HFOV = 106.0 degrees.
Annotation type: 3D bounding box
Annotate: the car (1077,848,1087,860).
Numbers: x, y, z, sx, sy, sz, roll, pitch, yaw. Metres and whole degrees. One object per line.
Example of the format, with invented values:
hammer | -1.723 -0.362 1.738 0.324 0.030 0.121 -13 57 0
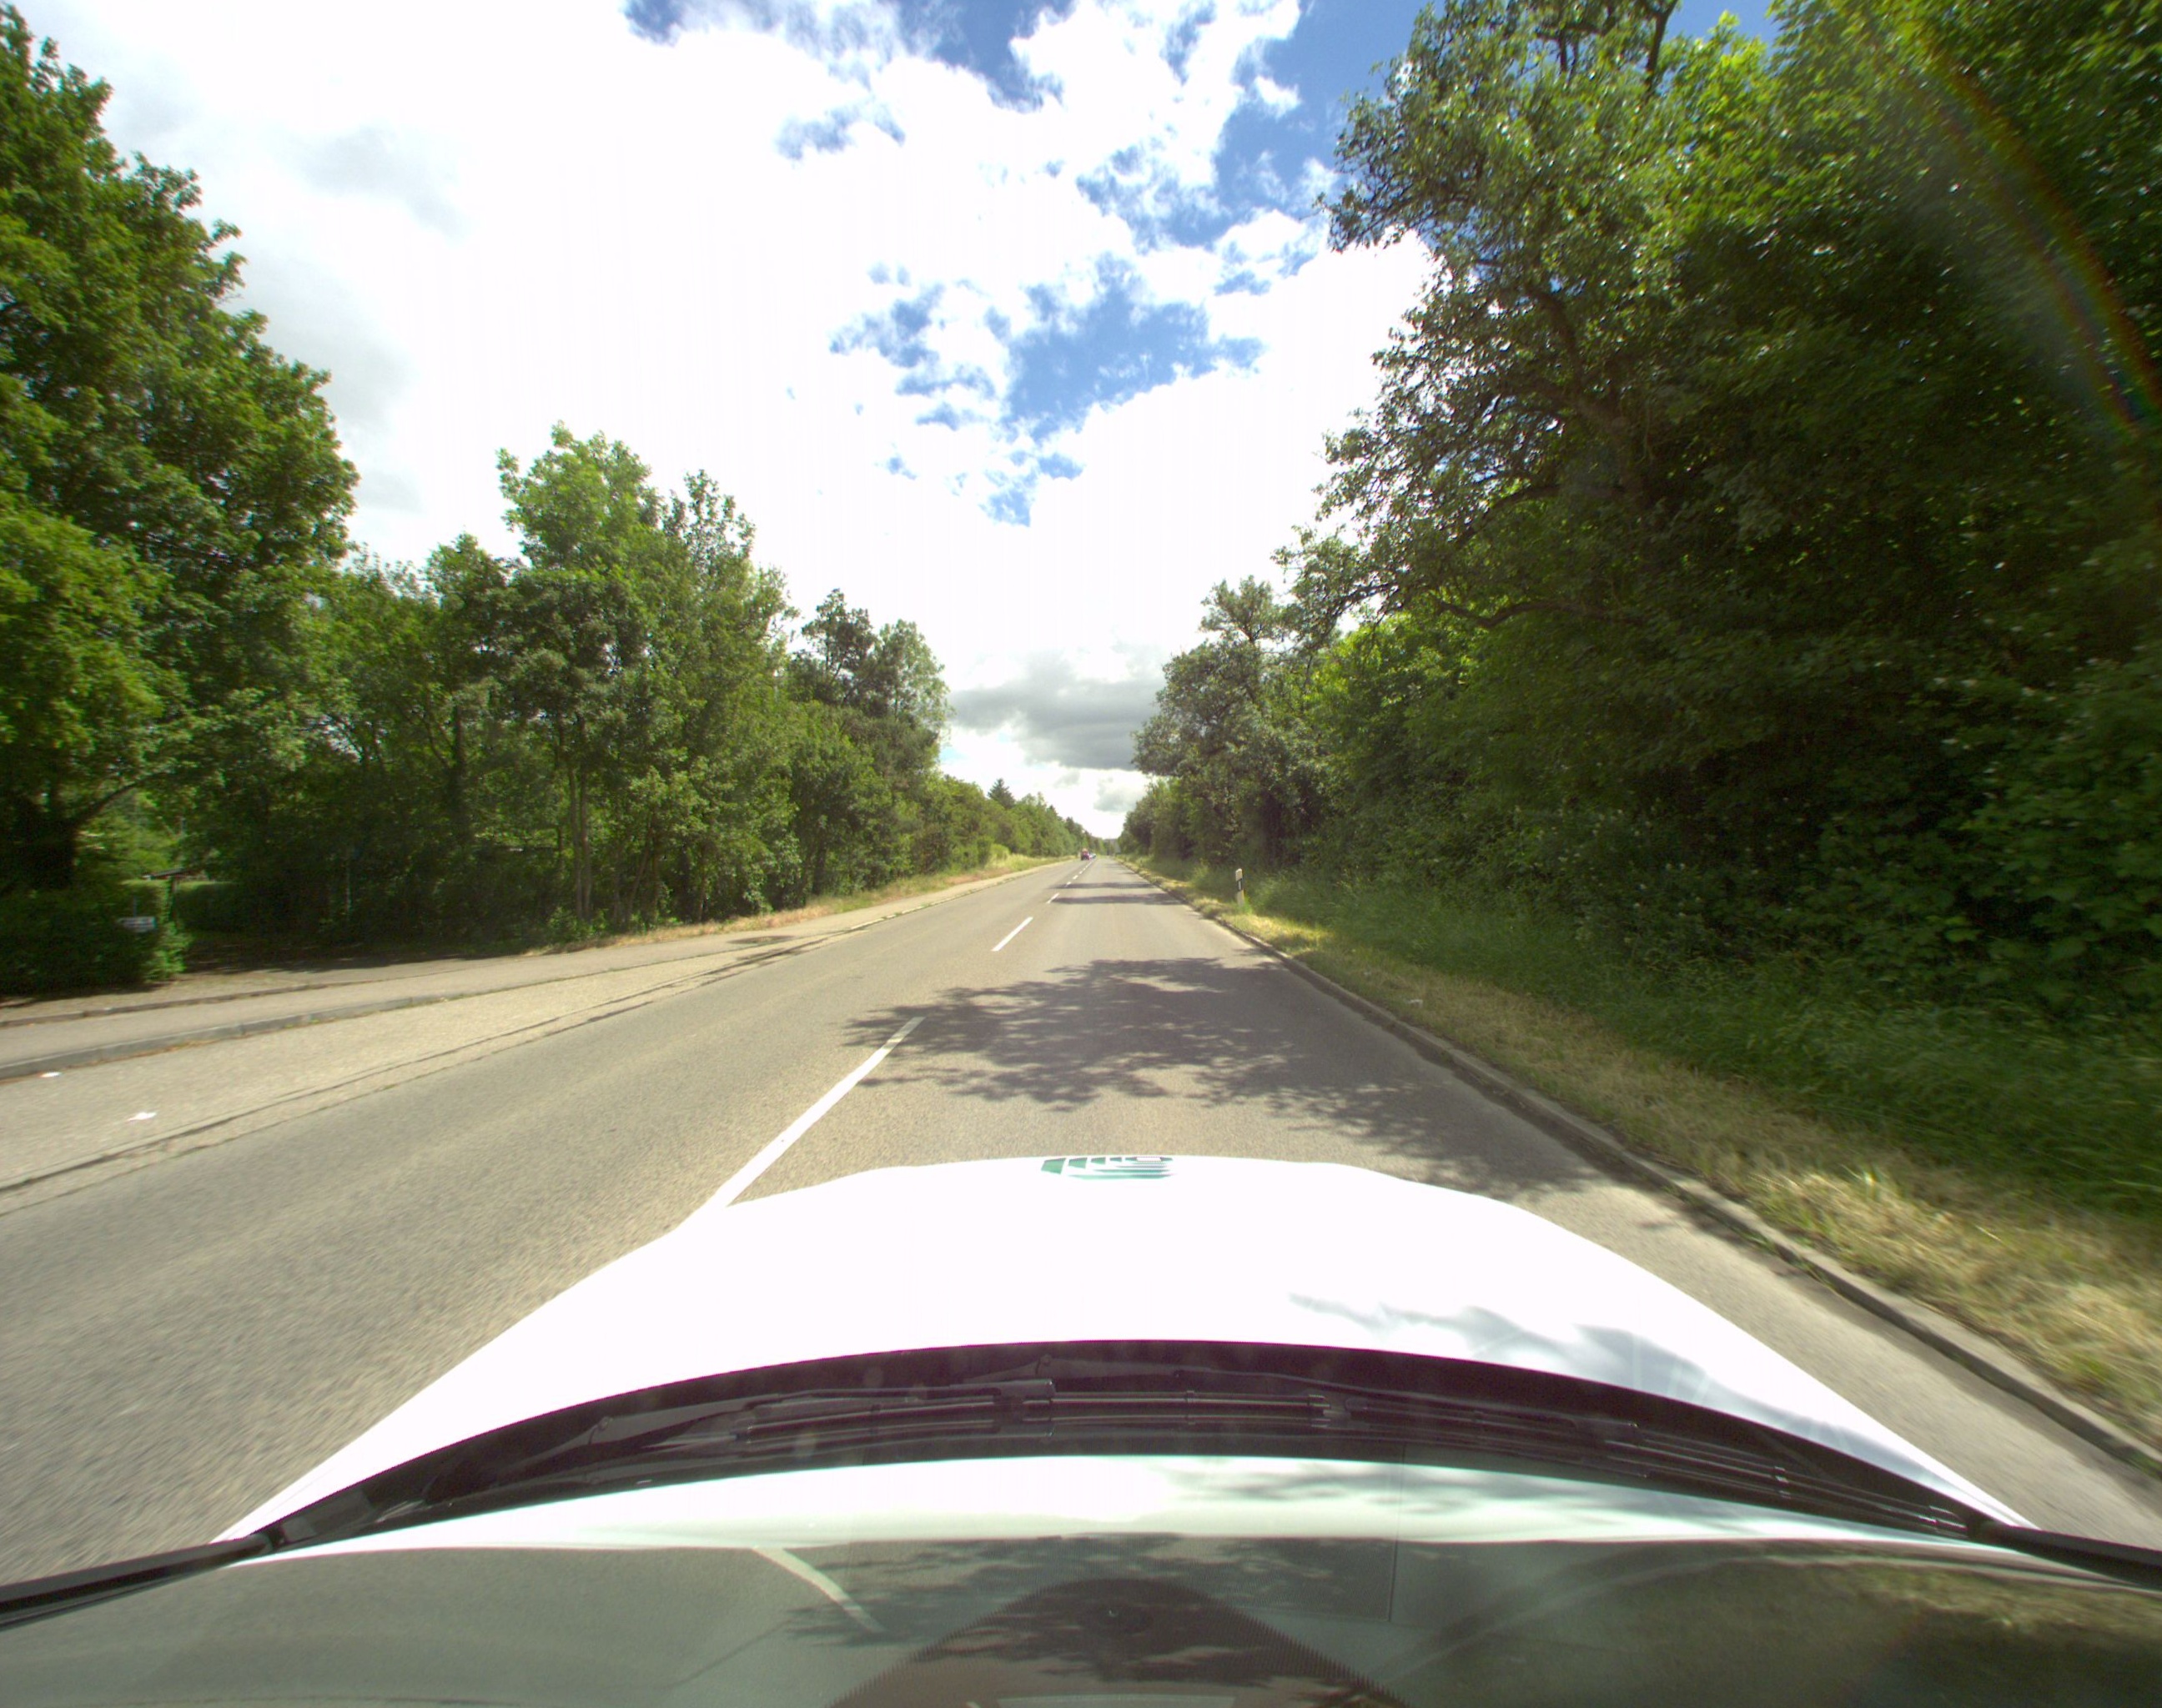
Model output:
car | 0.269 0.070 179.090 1.962 2.550 4.726 -4 0 1
